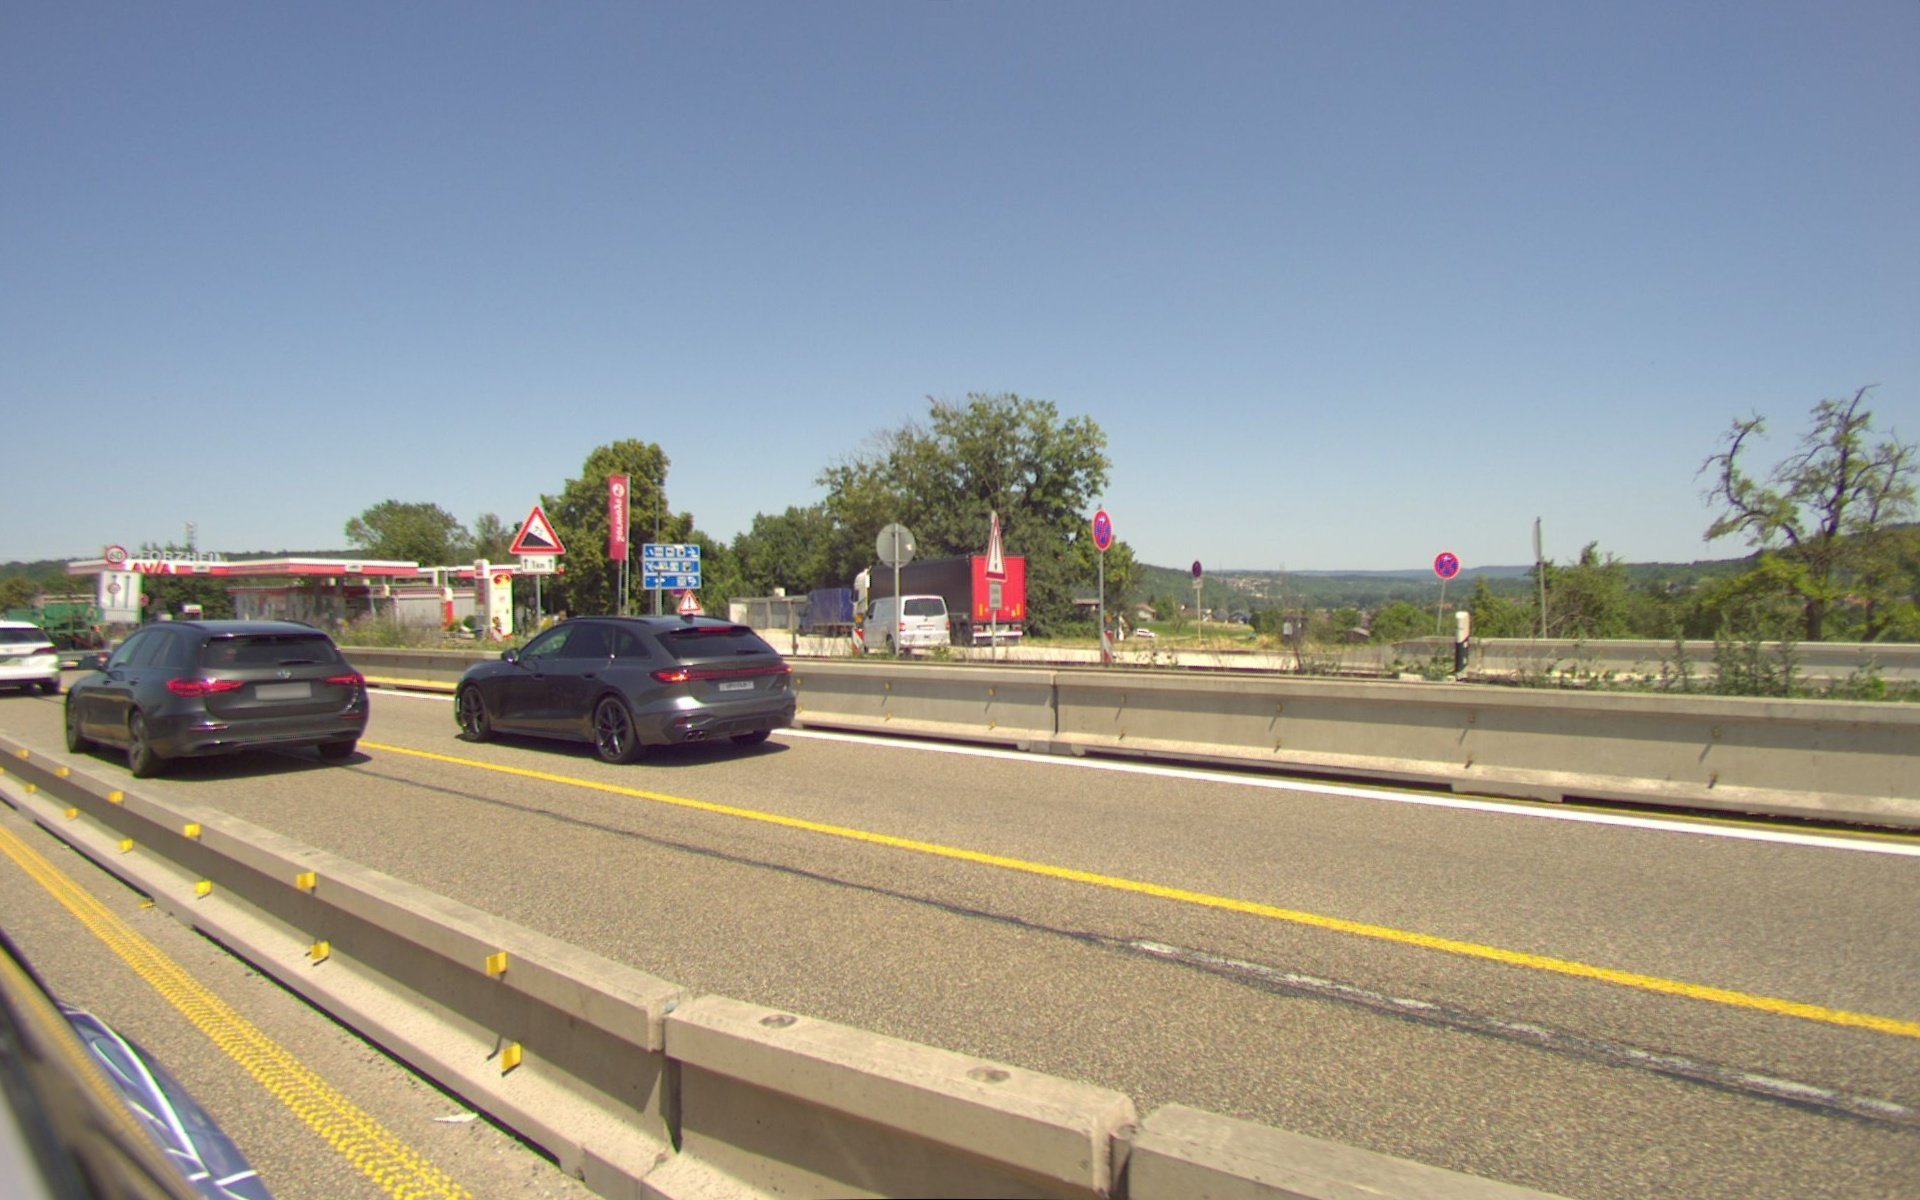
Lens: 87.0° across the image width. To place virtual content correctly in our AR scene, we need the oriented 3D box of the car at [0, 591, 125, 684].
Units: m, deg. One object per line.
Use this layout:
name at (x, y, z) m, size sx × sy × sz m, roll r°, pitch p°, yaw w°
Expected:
car at (-27.307, 1.114, 30.468) m, size 6.444 × 2.416 × 1.896 m, roll -2°, pitch 3°, yaw 39°

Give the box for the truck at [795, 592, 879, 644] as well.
truck at (-7.911, 1.157, 64.086) m, size 2.780 × 3.087 × 7.143 m, roll 0°, pitch -1°, yaw -29°

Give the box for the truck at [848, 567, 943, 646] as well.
truck at (-3.629, 0.392, 55.365) m, size 3.105 × 4.015 × 6.367 m, roll 0°, pitch -1°, yaw -24°

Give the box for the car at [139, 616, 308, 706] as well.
car at (-14.797, 1.169, 20.257) m, size 3.995 × 1.609 × 1.750 m, roll -2°, pitch -1°, yaw 39°

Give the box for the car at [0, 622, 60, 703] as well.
car at (-19.813, 1.257, 20.462) m, size 4.515 × 1.489 × 1.717 m, roll -2°, pitch -1°, yaw 39°

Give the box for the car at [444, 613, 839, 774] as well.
car at (-3.651, 0.899, 11.159) m, size 4.575 × 1.409 × 1.974 m, roll -2°, pitch -2°, yaw 39°

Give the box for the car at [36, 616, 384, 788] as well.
car at (-8.019, 0.931, 10.642) m, size 4.763 × 1.438 × 1.757 m, roll -2°, pitch -2°, yaw 38°

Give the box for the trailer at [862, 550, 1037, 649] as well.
trailer at (-1.017, 0.143, 49.568) m, size 3.105 × 4.142 × 14.210 m, roll 0°, pitch -1°, yaw -24°

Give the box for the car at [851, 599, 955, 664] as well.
car at (-2.015, 1.064, 34.020) m, size 1.890 × 1.956 × 5.110 m, roll -1°, pitch -2°, yaw -22°
